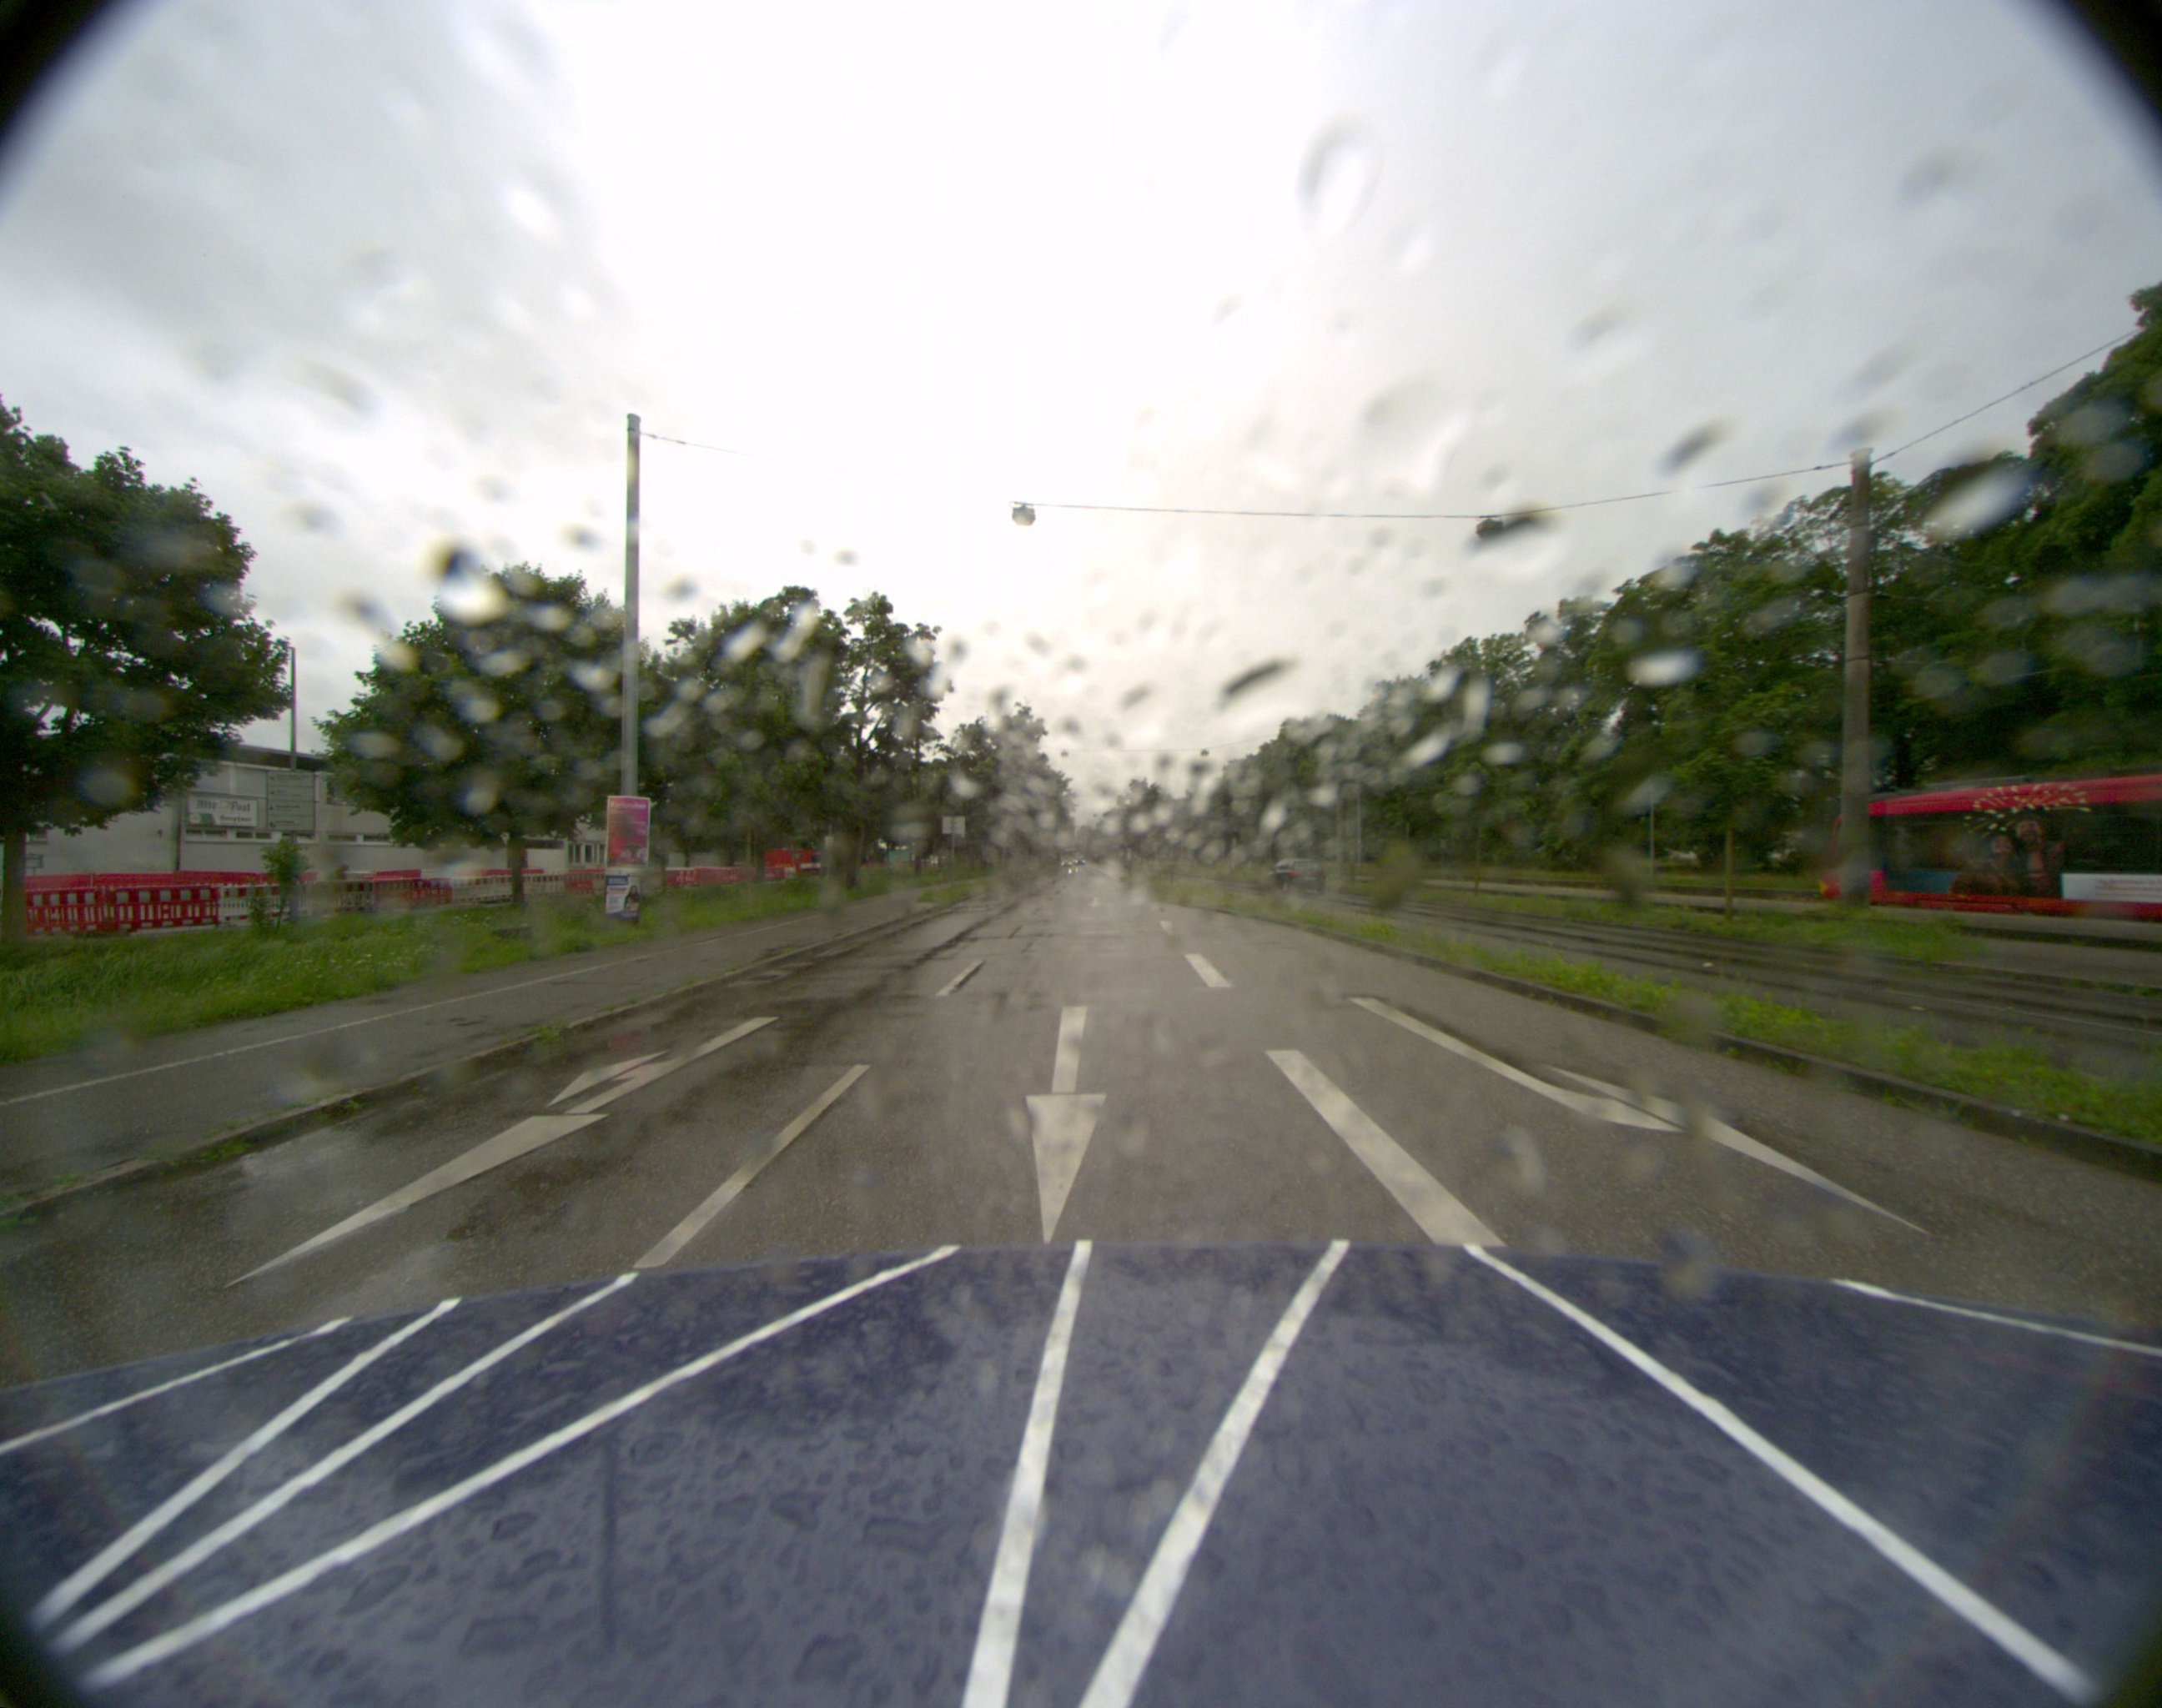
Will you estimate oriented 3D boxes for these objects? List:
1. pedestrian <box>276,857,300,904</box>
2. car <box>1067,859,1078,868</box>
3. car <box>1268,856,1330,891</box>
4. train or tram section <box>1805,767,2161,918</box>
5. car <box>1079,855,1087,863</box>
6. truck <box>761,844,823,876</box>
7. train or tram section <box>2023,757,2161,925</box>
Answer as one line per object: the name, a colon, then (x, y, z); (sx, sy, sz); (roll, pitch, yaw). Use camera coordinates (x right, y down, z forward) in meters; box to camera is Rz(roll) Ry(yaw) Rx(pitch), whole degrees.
pedestrian: (-31.304, 1.030, 29.993); (0.363, 1.831, 0.496); (-1, 1, 1)
car: (-1.618, 1.693, 138.874); (1.858, 1.583, 3.999); (-2, 1, -1)
car: (9.857, 0.835, 34.633); (1.741, 1.428, 3.819); (-1, 1, 0)
train or tram section: (23.653, -0.265, 20.074); (3.542, 3.398, 5.769); (0, 0, 0)
car: (0.416, 1.193, 169.417); (1.812, 1.683, 3.776); (-2, 1, -1)
truck: (-28.443, 0.488, 75.218); (2.811, 2.882, 8.748); (-2, 1, -1)
train or tram section: (23.649, -0.265, 13.697); (3.542, 3.392, 7.902); (0, 0, 0)
